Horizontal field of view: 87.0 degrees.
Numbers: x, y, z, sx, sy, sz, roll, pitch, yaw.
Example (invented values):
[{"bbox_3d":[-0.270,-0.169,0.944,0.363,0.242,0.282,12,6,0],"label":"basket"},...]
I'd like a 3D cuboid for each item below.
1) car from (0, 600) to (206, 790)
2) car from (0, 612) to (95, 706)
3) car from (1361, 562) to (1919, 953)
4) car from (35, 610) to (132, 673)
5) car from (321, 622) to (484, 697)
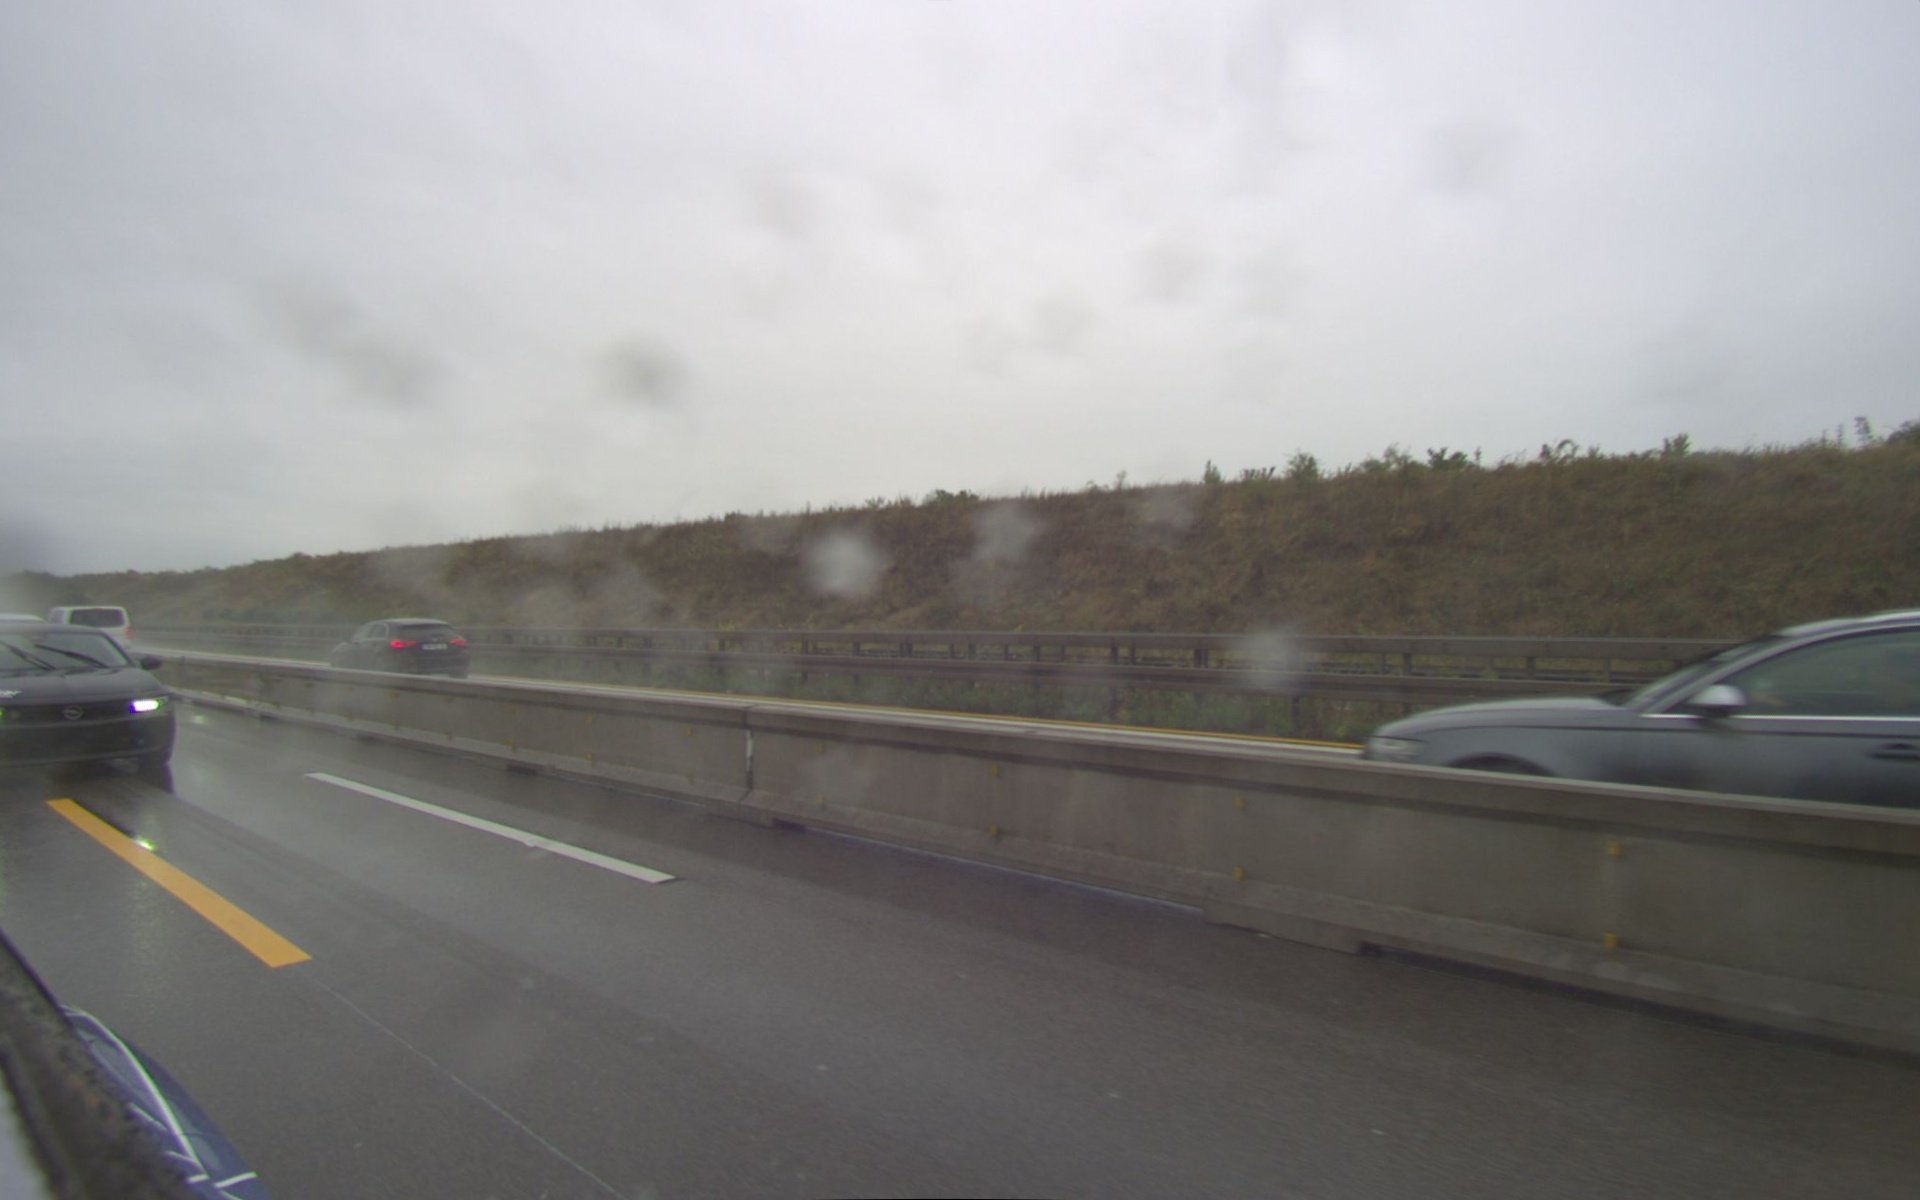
[{"bbox_3d":[-9.359,0.797,10.102,4.793,1.539,1.919,0,-2,41],"label":"car"},{"bbox_3d":[-18.577,1.080,19.769,3.998,1.693,1.946,0,-2,41],"label":"car"},{"bbox_3d":[4.579,0.617,4.459,4.945,1.539,1.744,-1,-1,39],"label":"car"},{"bbox_3d":[-29.543,1.328,34.073,4.935,1.984,1.923,-1,-1,43],"label":"car"},{"bbox_3d":[-12.717,1.267,22.961,4.694,1.471,1.743,-1,-1,41],"label":"car"}]
